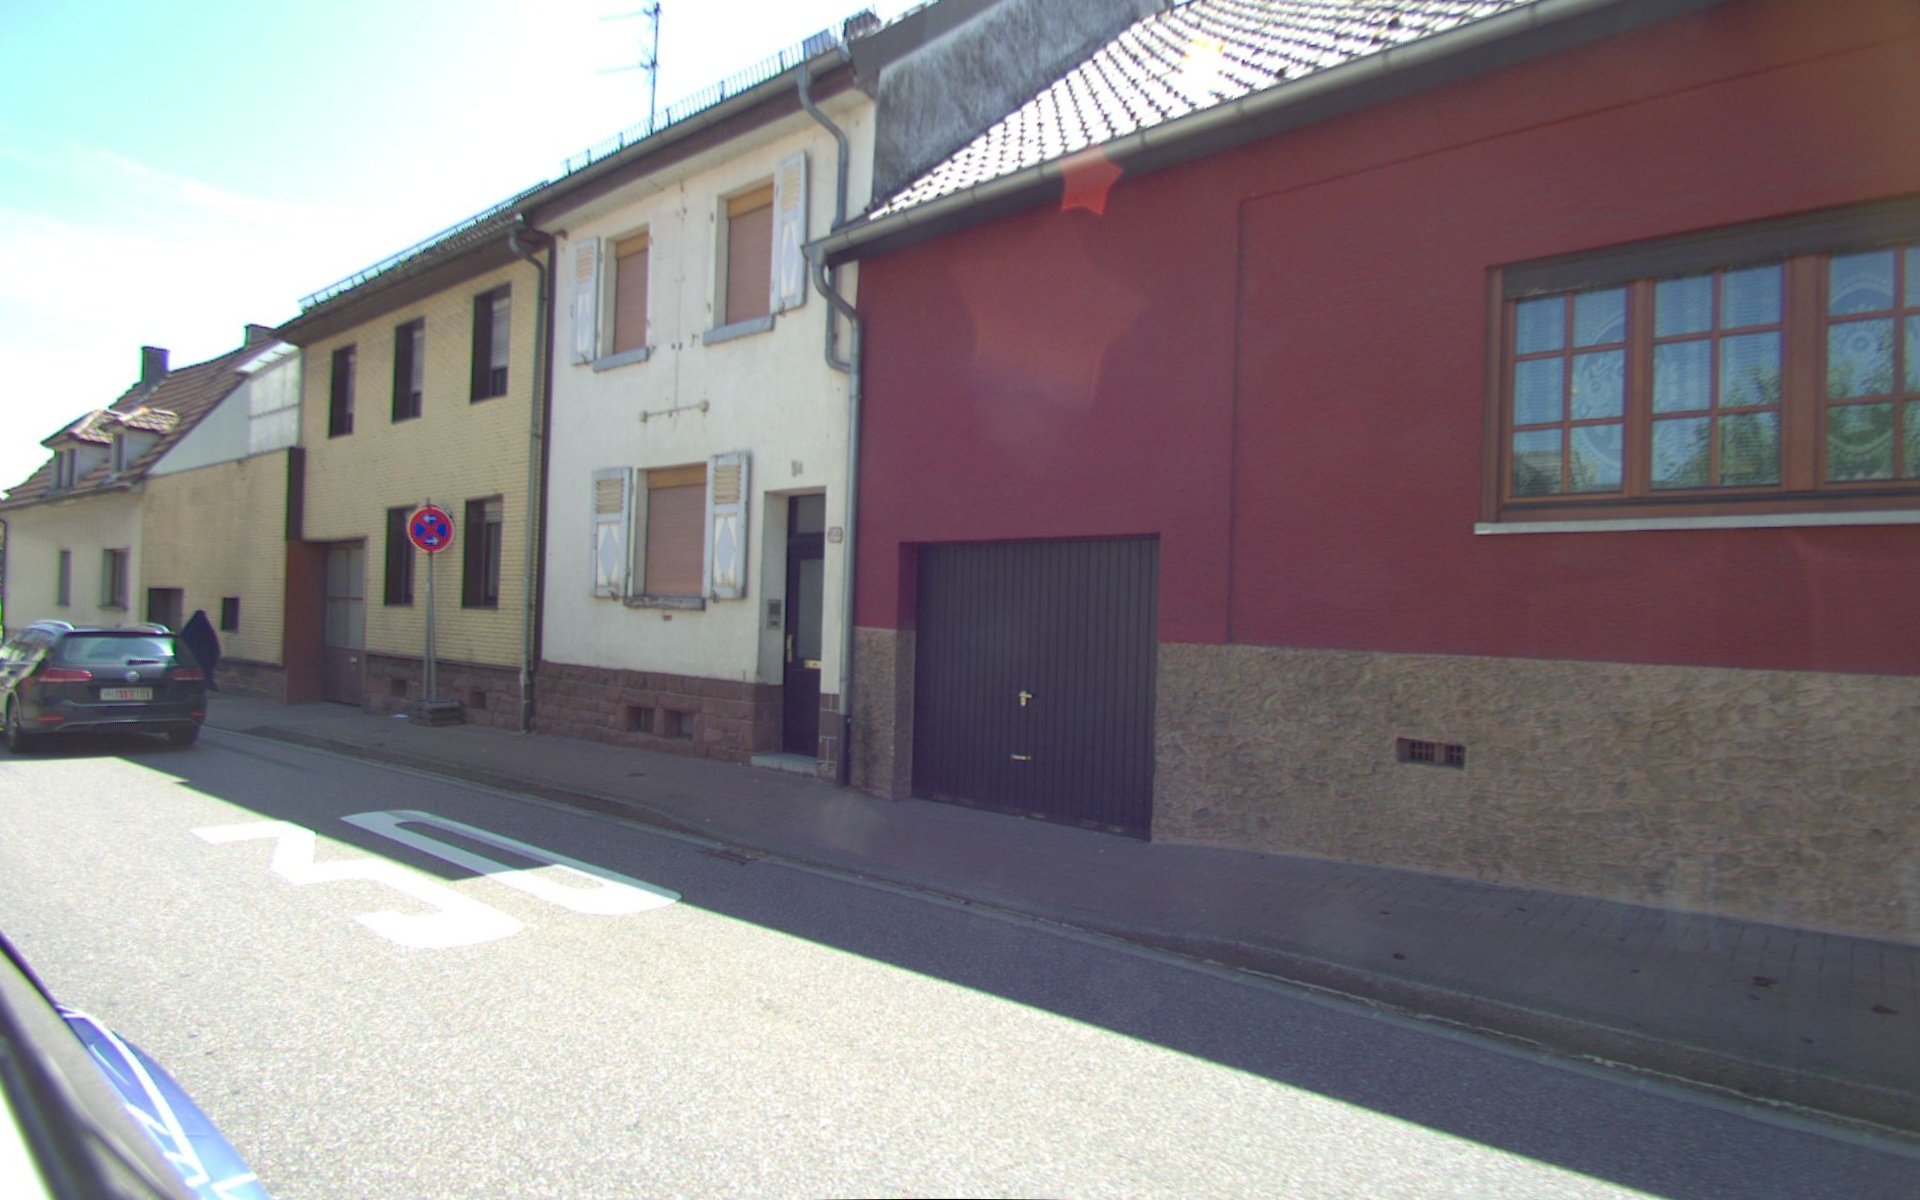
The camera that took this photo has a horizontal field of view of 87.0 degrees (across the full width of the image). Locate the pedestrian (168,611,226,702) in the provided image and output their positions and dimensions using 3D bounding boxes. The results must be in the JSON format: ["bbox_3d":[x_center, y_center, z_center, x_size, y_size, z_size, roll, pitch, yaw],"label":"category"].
[{"bbox_3d":[-13.689,0.986,18.156,0.754,1.576,0.655,0,-1,39],"label":"pedestrian"}]

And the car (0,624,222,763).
[{"bbox_3d":[-10.807,1.025,12.443,4.194,1.420,1.678,-1,-3,38],"label":"car"}]
